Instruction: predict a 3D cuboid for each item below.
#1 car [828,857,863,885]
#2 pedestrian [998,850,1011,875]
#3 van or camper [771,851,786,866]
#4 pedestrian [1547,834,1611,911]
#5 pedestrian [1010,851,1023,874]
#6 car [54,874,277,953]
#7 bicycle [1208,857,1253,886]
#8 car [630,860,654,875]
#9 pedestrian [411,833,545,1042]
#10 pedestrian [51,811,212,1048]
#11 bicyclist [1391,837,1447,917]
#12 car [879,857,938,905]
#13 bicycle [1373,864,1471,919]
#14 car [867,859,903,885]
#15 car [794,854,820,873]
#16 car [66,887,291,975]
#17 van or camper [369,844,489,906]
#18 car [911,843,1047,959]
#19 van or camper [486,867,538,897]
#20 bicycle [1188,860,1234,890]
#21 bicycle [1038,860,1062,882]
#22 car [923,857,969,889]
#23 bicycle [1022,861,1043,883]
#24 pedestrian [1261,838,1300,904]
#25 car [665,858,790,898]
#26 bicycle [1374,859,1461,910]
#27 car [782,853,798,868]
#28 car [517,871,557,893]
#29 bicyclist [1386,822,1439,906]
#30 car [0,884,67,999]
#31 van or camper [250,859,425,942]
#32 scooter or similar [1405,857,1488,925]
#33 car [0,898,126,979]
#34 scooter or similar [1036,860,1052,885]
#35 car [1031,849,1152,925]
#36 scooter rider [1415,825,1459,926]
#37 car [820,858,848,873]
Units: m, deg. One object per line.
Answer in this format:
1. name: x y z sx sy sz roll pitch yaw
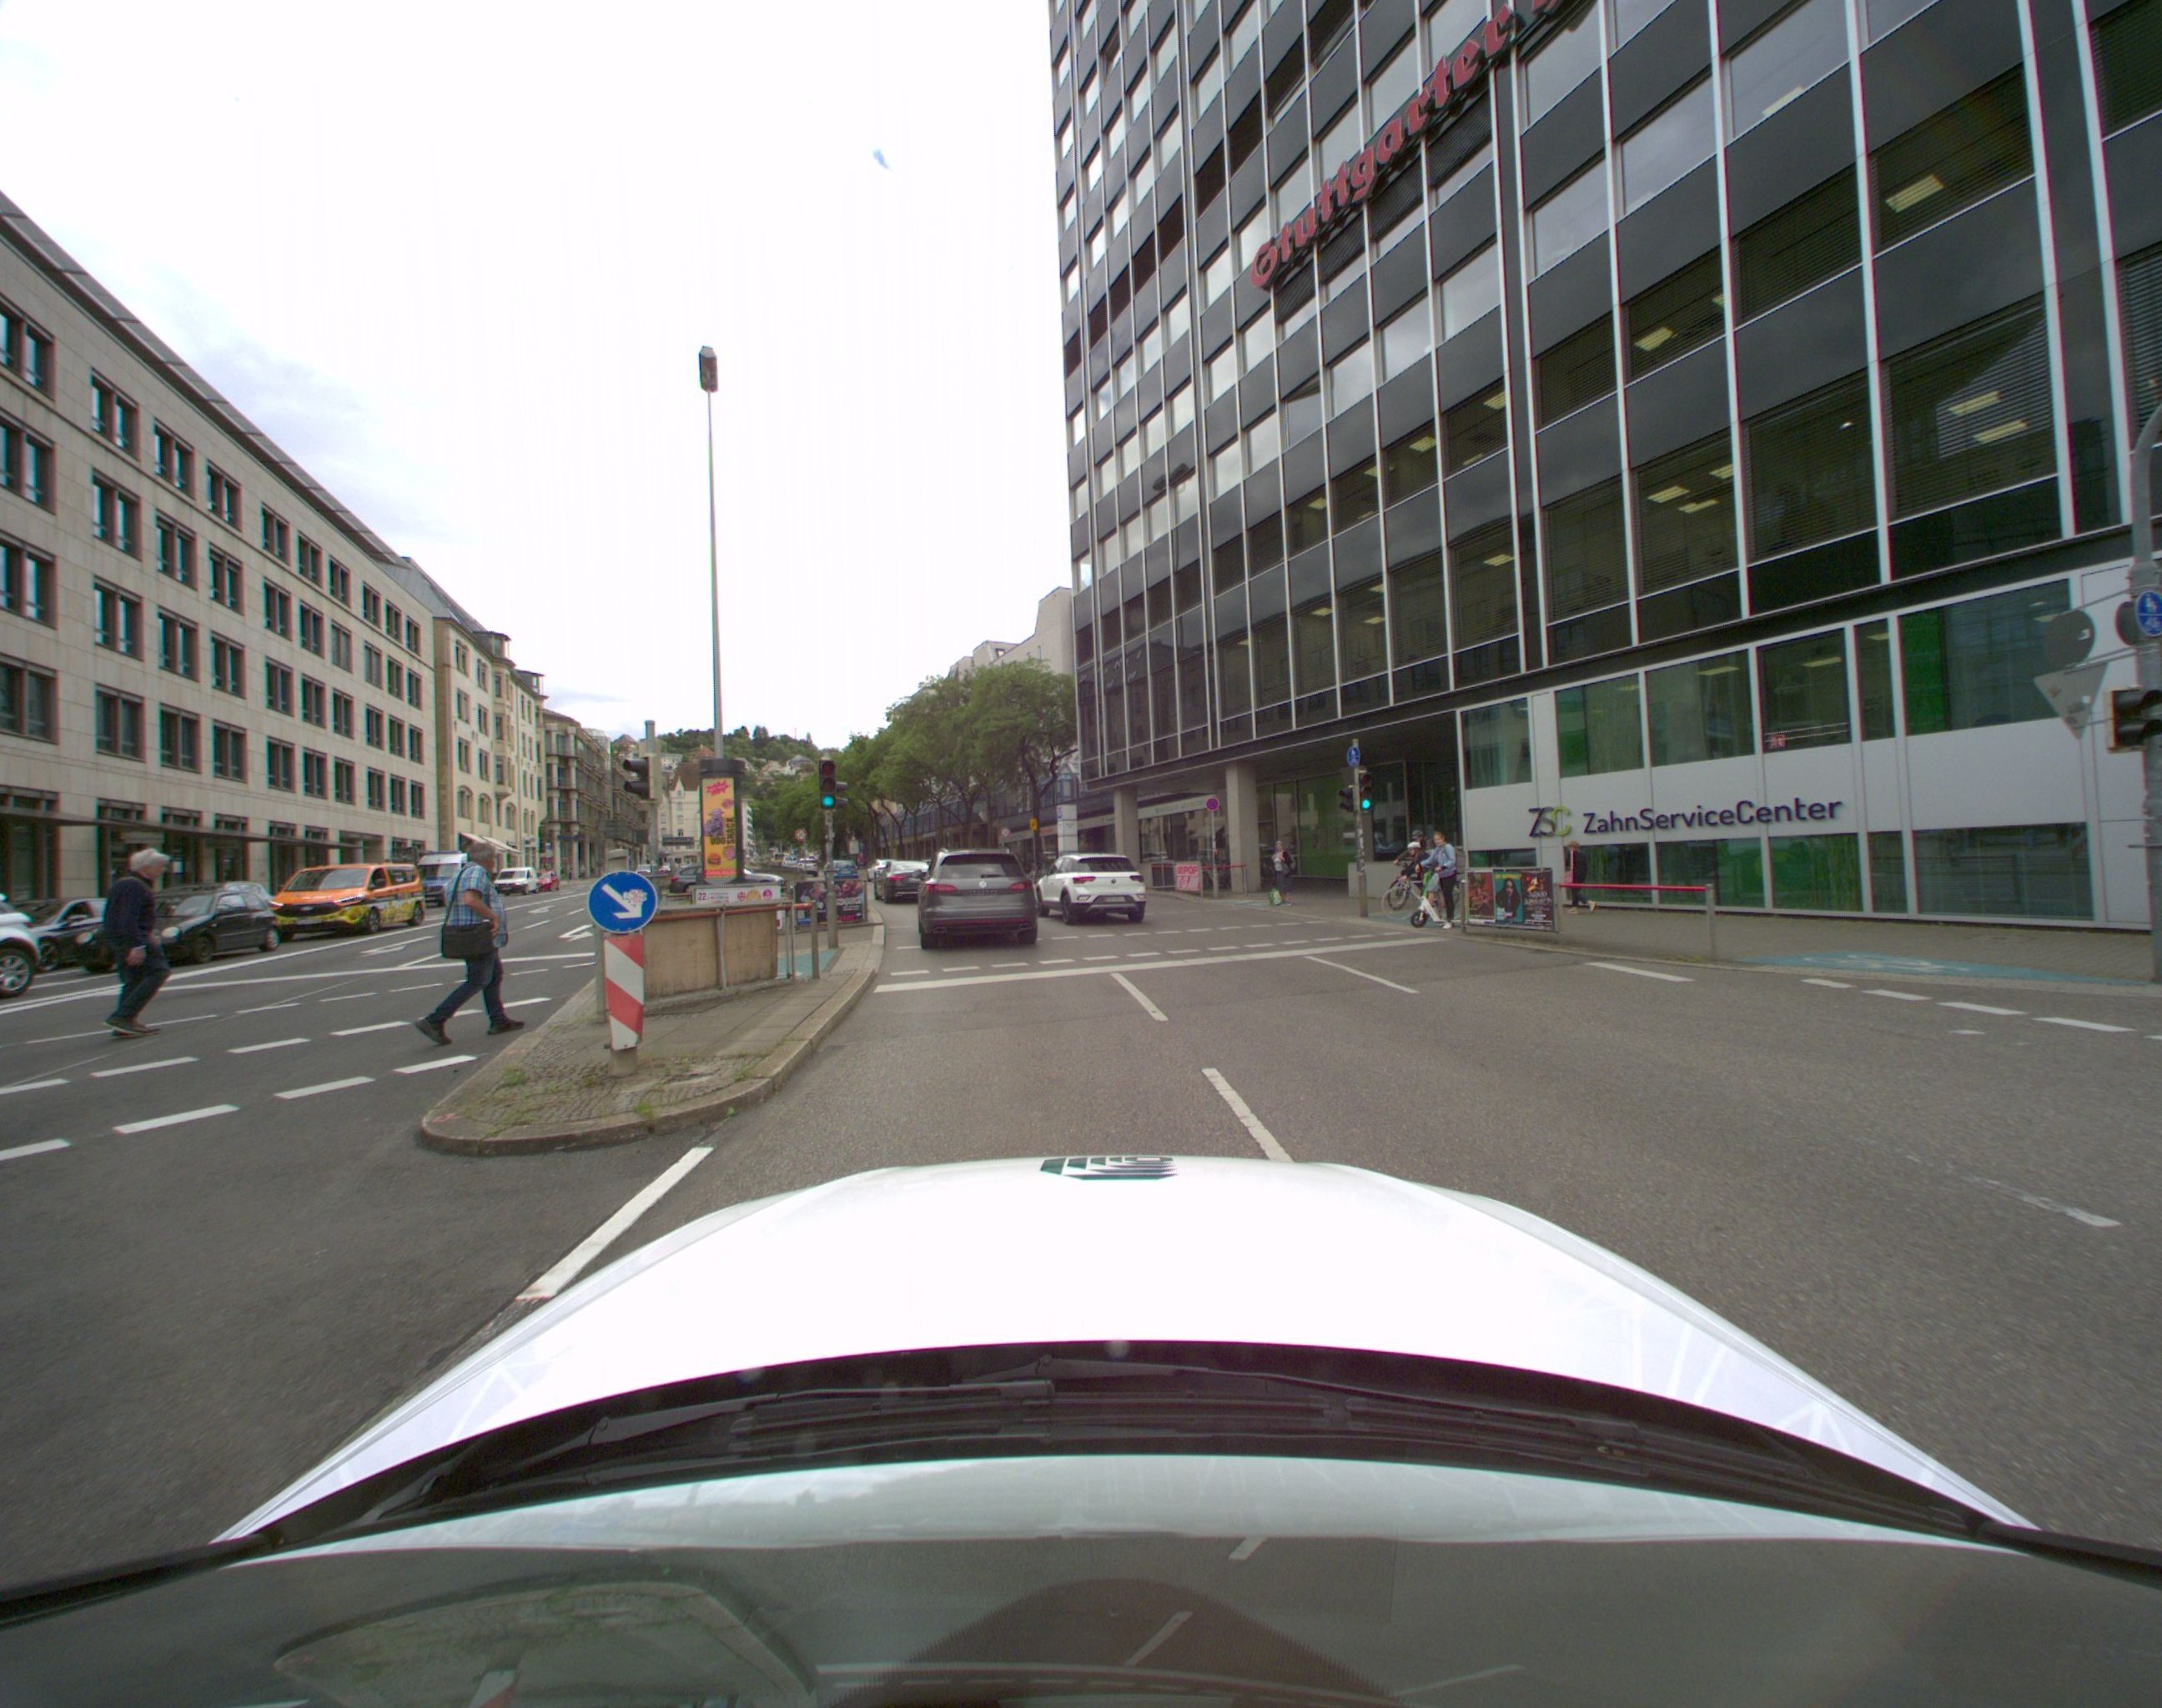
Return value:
1. car: -14.349 1.023 49.504 1.838 1.517 3.742 -3 0 -19
2. pedestrian: -5.514 0.613 58.607 0.599 1.754 0.932 -3 0 -28
3. van or camper: -66.223 0.966 178.249 2.639 3.178 5.759 -2 0 -23
4. pedestrian: 9.749 0.356 15.952 0.607 1.442 0.831 -3 0 -27
5. pedestrian: -4.655 0.630 58.999 0.599 1.628 0.750 -3 0 -28
6. car: -23.700 1.438 21.393 2.002 1.645 4.647 -3 1 -23
7. bicycle: 5.473 0.645 29.916 0.718 1.048 1.468 -2 0 -44
8. car: -48.120 1.518 89.386 1.927 1.527 4.505 -2 0 -24
9. pedestrian: -5.551 0.727 7.547 0.718 1.790 0.629 -6 3 -23
10. pedestrian: -9.305 0.687 8.028 0.884 2.172 0.754 -2 0 -41
11. bicyclist: 6.739 0.464 16.226 0.835 1.549 0.569 -3 -1 38
12. car: -6.023 0.868 28.094 1.836 1.395 4.128 -1 1 -14
13. bicycle: 6.773 0.759 16.211 1.648 1.027 0.585 -3 -1 38
14. car: -12.663 1.151 52.474 1.838 1.517 3.742 -3 0 -19
15. car: -24.458 0.877 72.705 1.840 1.567 3.737 -3 0 -24
16. car: -18.125 1.469 16.598 1.563 1.379 3.606 -3 1 -22
17. van or camper: -32.294 0.982 40.649 3.015 2.726 6.198 -2 0 -23
18. car: -2.008 0.719 14.832 1.972 1.695 4.205 -3 1 -13
19. van or camper: -36.805 1.763 52.782 1.876 1.751 4.451 -2 0 -24
20. bicycle: 4.712 0.749 29.584 0.718 1.048 1.468 -2 0 -44
21. bicycle: -1.659 0.922 43.319 0.492 1.132 1.869 -2 0 -29
22. car: -6.779 0.905 40.534 1.837 1.432 4.125 -1 1 -16
23. bicycle: -2.588 0.949 43.008 0.491 1.132 1.829 -2 0 -23
24. pedestrian: 5.359 0.472 21.924 0.528 1.711 0.746 -3 -1 -28
25. car: -14.845 0.983 34.435 4.558 1.458 1.872 -2 0 -15
26. bicycle: 7.721 0.673 18.703 1.765 1.006 0.677 -4 2 -15
27. car: -39.588 0.847 110.548 1.839 1.874 4.835 -3 0 -21
28. car: -39.251 2.022 58.850 1.796 1.406 3.554 -2 0 -24
29. bicyclist: 7.583 0.206 18.653 0.813 1.845 0.672 -4 2 -15
30. car: -15.921 1.279 10.229 1.738 1.598 4.296 -2 0 -15
31. van or camper: -20.462 1.179 22.729 1.921 1.921 5.044 -3 1 -23
32. scooter or similar: 6.671 0.679 14.868 1.307 1.176 0.597 -3 -1 25
33. car: -20.769 1.639 15.652 1.563 1.341 3.606 -3 1 -22
34. scooter or similar: -1.943 0.970 42.830 0.308 1.251 0.986 -2 0 -36
35. car: 0.128 0.685 19.098 1.801 1.545 3.914 -1 0 -16
36. scooter rider: 6.529 0.388 14.925 0.635 1.808 0.597 -3 -1 25
37. car: -25.839 1.245 85.169 2.067 1.418 4.296 -3 0 -26
